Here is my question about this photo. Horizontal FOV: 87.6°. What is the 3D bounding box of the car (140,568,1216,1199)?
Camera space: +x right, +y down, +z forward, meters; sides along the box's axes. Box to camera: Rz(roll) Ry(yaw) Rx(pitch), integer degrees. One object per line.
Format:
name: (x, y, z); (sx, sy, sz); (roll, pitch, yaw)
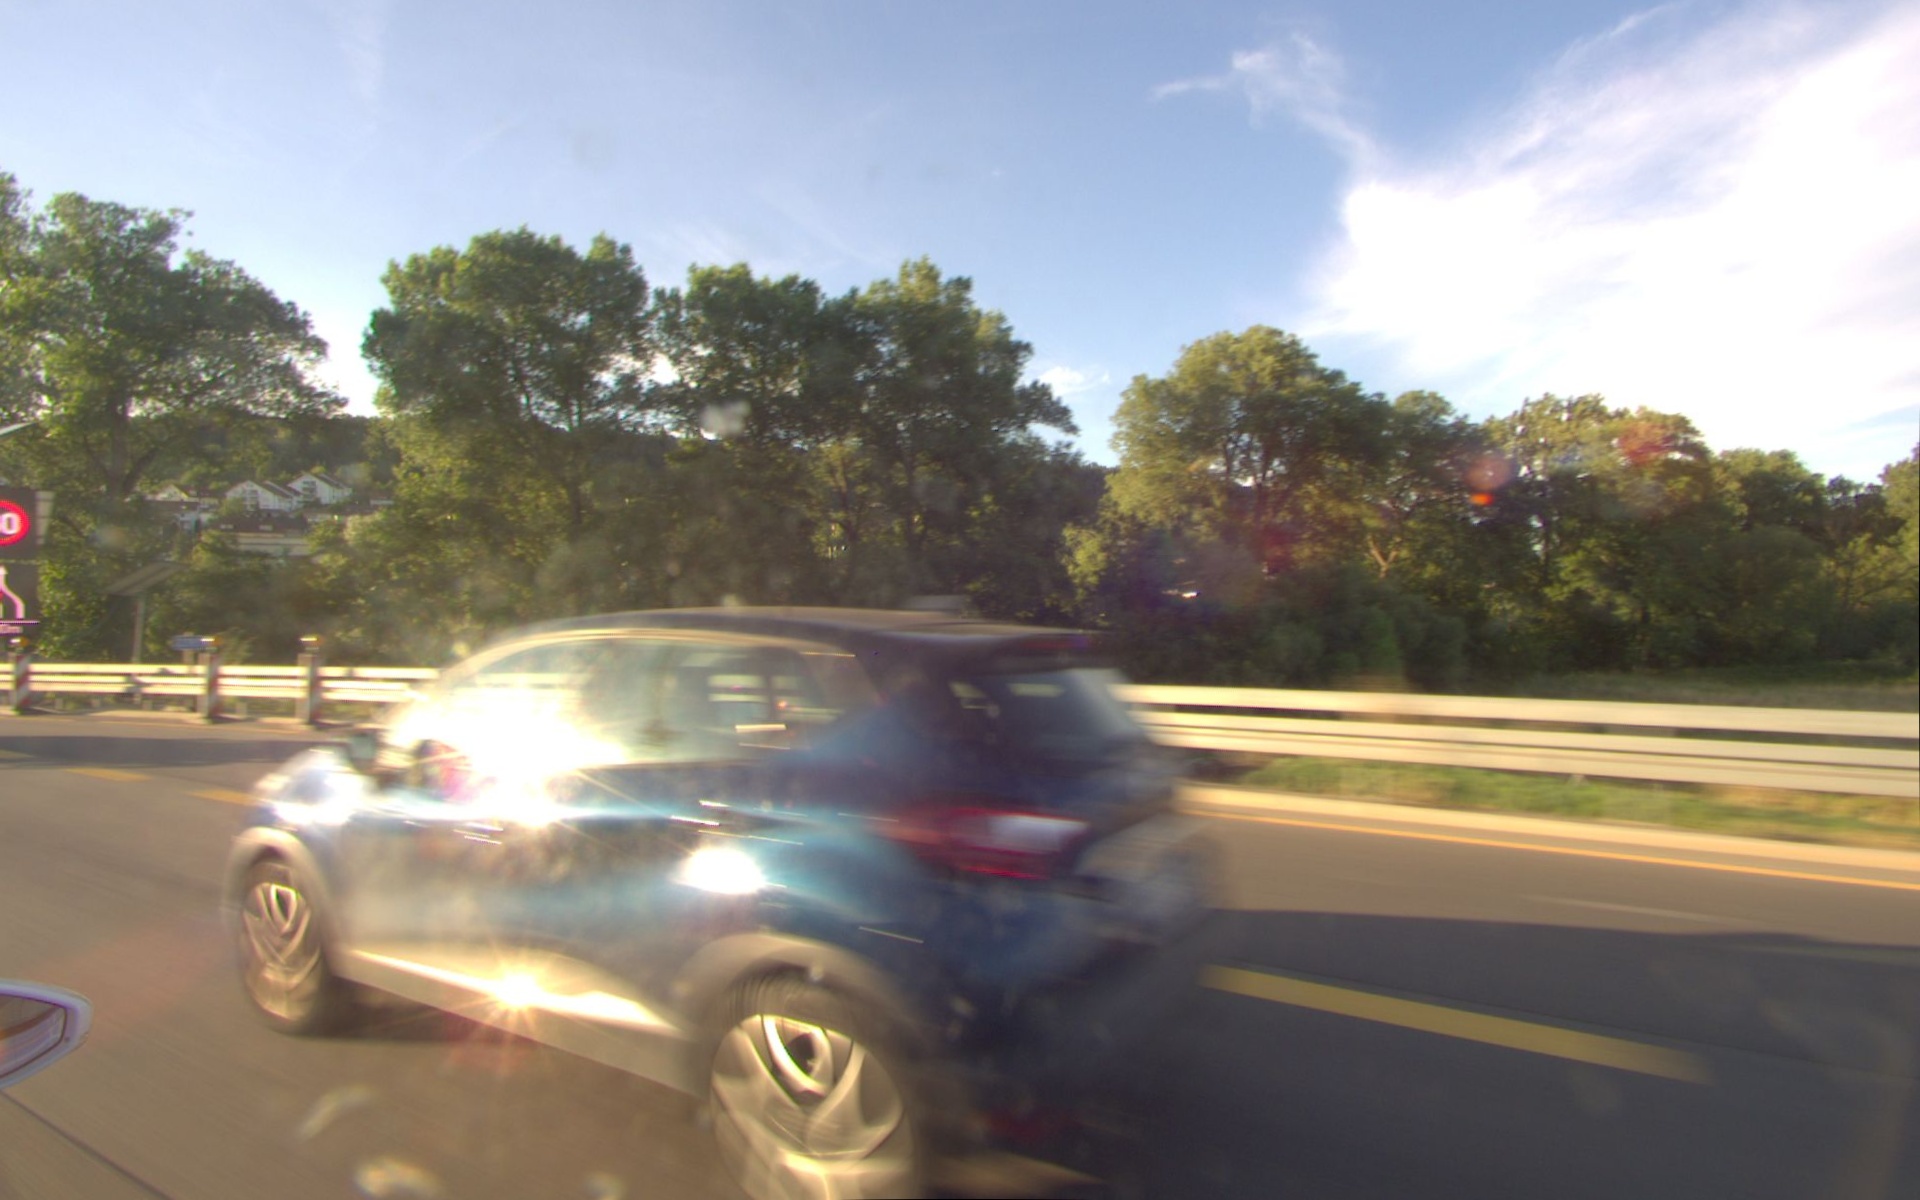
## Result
car: (-1.274, 0.782, 3.904); (4.075, 1.606, 1.771); (-1, -2, 32)
